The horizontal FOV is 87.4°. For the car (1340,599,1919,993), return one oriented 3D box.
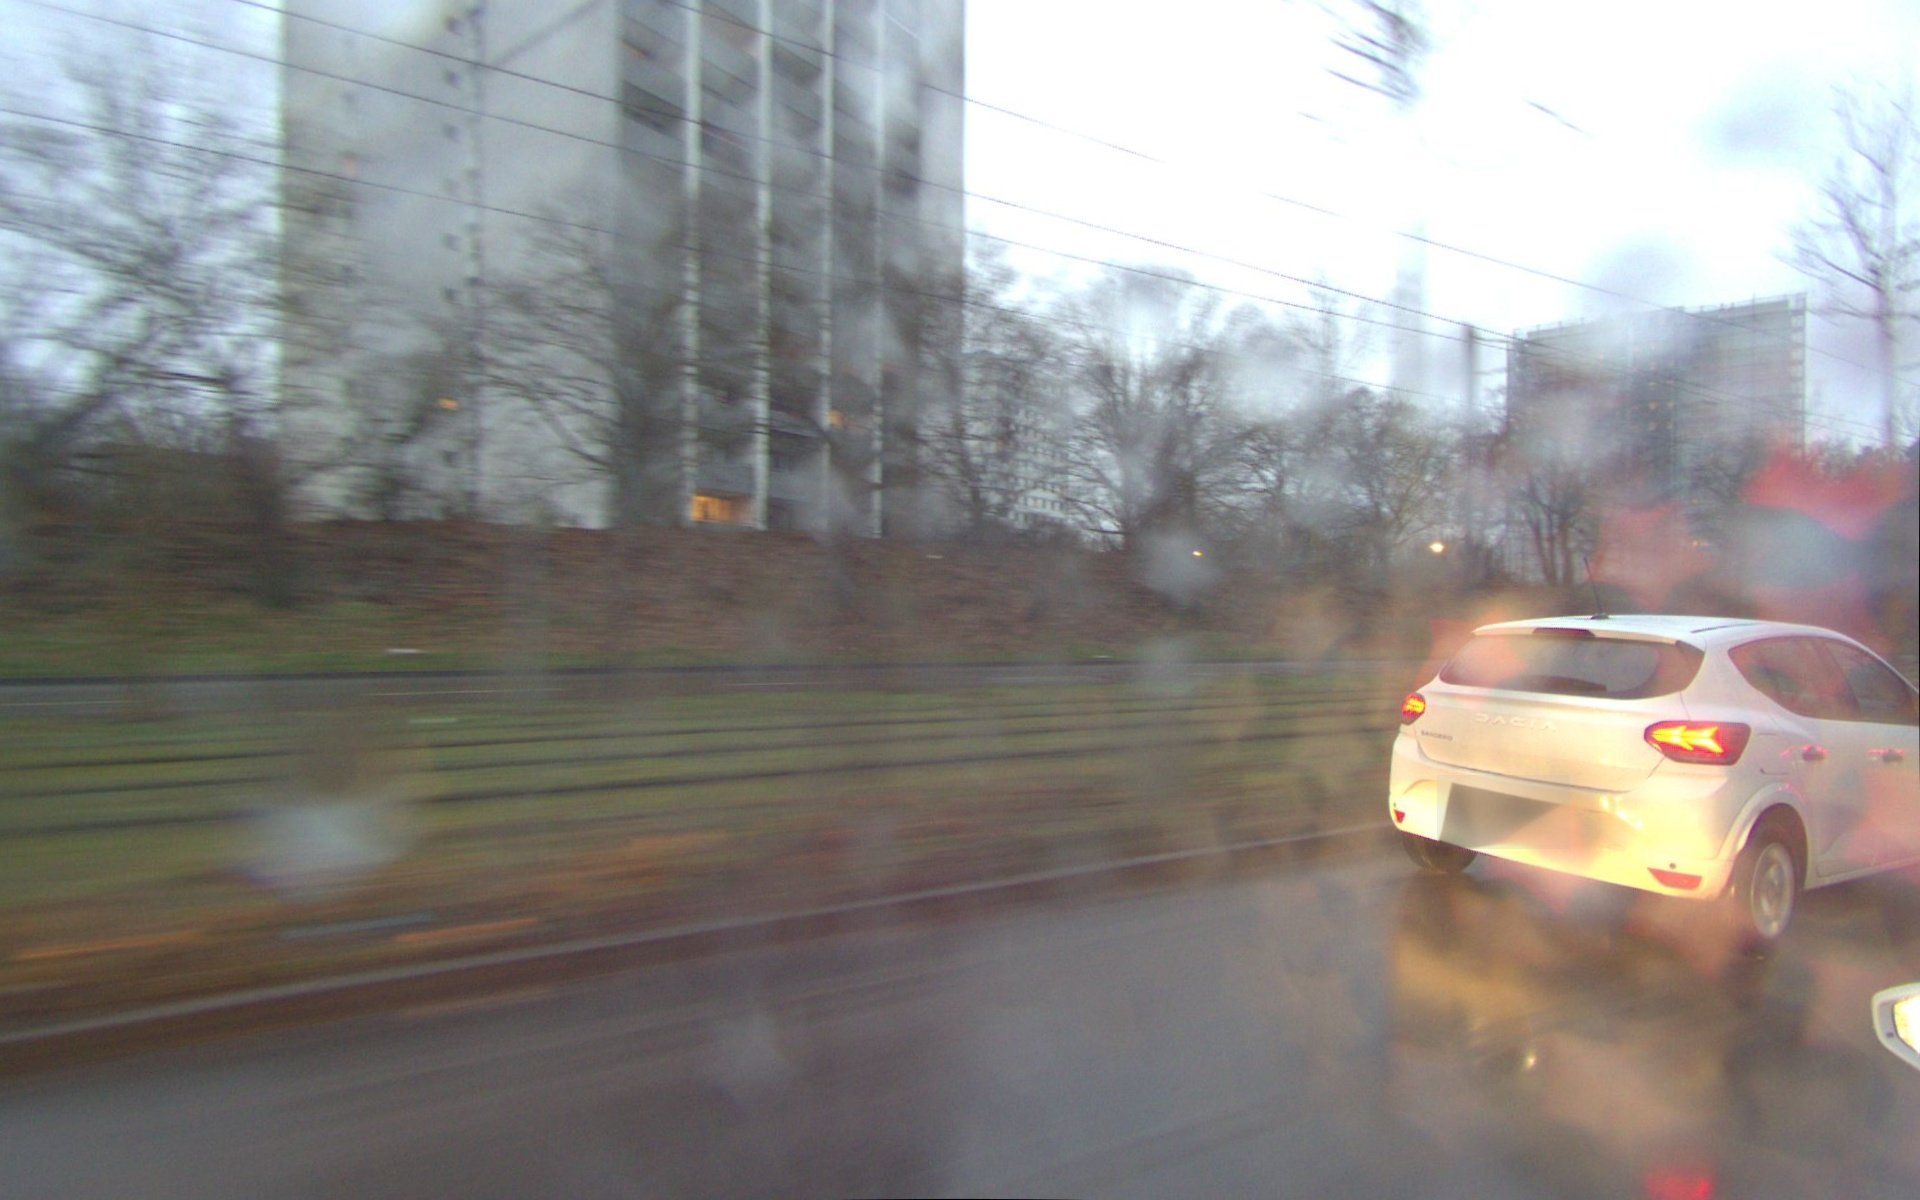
[{"bbox_3d":[4.243,0.809,5.697,4.085,1.545,1.701,1,-1,-29],"label":"car"}]
